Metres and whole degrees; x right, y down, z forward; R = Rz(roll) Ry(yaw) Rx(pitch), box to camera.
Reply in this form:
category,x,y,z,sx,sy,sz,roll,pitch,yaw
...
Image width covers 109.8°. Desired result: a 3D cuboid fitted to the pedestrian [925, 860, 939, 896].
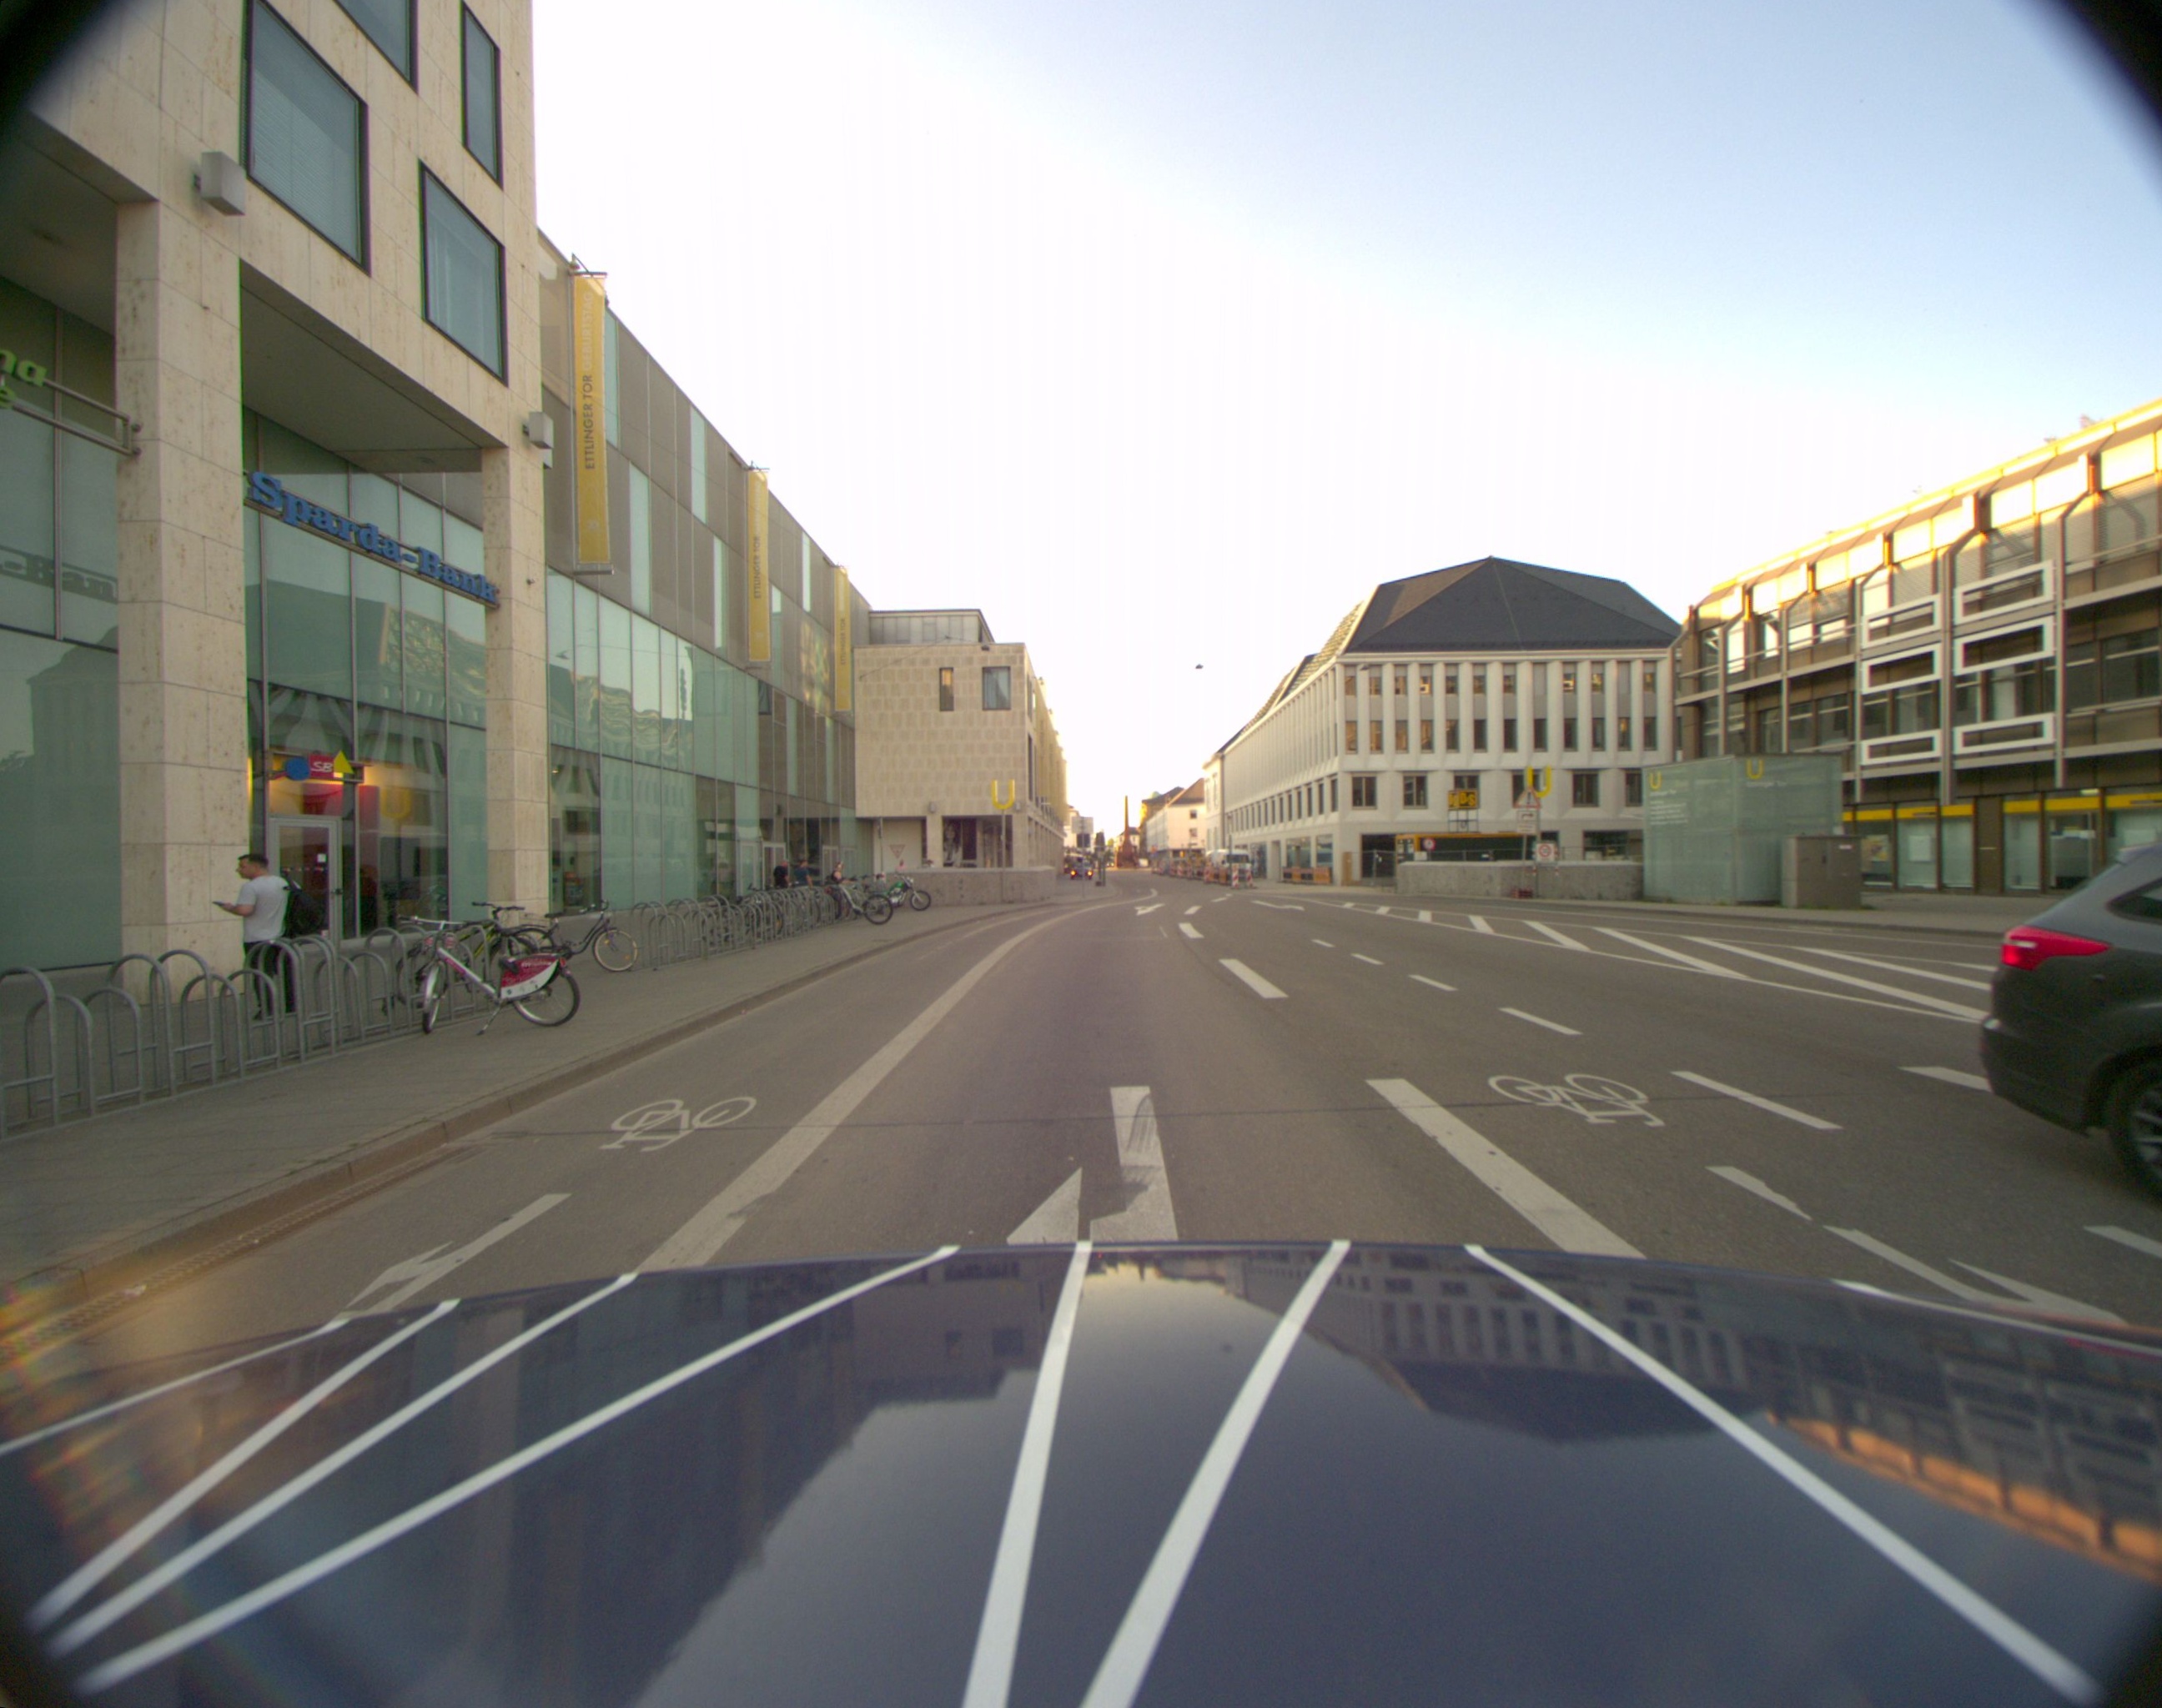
category,x,y,z,sx,sy,sz,roll,pitch,yaw
pedestrian,-7.298,1.157,37.197,0.494,1.733,0.657,-1,0,3

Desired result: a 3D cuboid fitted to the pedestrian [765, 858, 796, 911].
category,x,y,z,sx,sy,sz,roll,pitch,yaw
pedestrian,-9.620,0.959,24.335,0.741,1.638,0.820,-1,0,-7

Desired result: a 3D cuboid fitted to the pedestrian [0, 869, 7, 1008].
category,x,y,z,sx,sy,sz,roll,pitch,yaw
pedestrian,-13.063,0.999,8.653,0.629,1.642,0.708,-1,0,2

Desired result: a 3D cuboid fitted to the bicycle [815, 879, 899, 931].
category,x,y,z,sx,sy,sz,roll,pitch,yaw
bicycle,-5.386,1.219,18.316,1.838,1.140,0.466,-3,0,1

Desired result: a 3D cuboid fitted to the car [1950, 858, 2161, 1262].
category,x,y,z,sx,sy,sz,roll,pitch,yaw
car,4.848,0.738,1.263,1.762,1.454,4.380,-2,0,0

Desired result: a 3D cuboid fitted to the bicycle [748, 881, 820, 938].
category,x,y,z,sx,sy,sz,roll,pitch,yaw
bicycle,-6.656,1.238,17.074,1.345,1.157,0.518,-3,0,-1

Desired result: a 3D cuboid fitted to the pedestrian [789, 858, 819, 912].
category,x,y,z,sx,sy,sz,roll,pitch,yaw
pedestrian,-8.850,0.964,24.319,0.698,1.686,0.820,-1,0,-5

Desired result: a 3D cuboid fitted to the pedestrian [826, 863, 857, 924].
category,x,y,z,sx,sy,sz,roll,pitch,yaw
pedestrian,-6.631,1.080,21.041,0.809,1.633,0.646,-1,0,-18

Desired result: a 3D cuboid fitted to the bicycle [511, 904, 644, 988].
category,x,y,z,sx,sy,sz,roll,pitch,yaw
bicycle,-7.299,1.315,11.069,1.447,1.058,0.580,-3,0,-10

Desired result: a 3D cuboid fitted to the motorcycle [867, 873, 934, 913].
category,x,y,z,sx,sy,sz,roll,pitch,yaw
motorcycle,-5.707,1.241,24.081,2.007,1.217,0.480,-1,0,-2

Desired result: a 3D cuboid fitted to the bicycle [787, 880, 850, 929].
category,x,y,z,sx,sy,sz,roll,pitch,yaw
bicycle,-6.600,1.265,19.159,1.345,1.157,0.518,-3,0,-1

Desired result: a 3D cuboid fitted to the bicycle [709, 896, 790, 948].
category,x,y,z,sx,sy,sz,roll,pitch,yaw
bicycle,-6.593,1.353,15.145,1.345,0.927,0.518,-3,0,-1

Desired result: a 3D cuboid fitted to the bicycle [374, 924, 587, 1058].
category,x,y,z,sx,sy,sz,roll,pitch,yaw
bicycle,-5.395,1.219,6.863,1.518,1.057,0.466,-3,0,1

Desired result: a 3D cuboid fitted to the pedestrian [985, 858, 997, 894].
category,x,y,z,sx,sy,sz,roll,pitch,yaw
pedestrian,-4.306,1.063,36.466,0.454,1.733,0.493,-1,0,3

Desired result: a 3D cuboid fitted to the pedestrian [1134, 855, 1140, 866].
category,x,y,z,sx,sy,sz,roll,pitch,yaw
pedestrian,8.027,0.923,108.093,0.692,1.628,0.597,-2,0,16

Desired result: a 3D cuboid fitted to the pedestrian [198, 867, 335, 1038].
category,x,y,z,sx,sy,sz,roll,pitch,yaw
pedestrian,-8.364,0.980,7.830,0.707,1.682,0.629,-1,0,1

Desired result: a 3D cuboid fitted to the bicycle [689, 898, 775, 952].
category,x,y,z,sx,sy,sz,roll,pitch,yaw
bicycle,-6.651,1.344,14.500,1.345,0.927,0.518,-3,0,-1

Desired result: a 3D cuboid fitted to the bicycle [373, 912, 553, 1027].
category,x,y,z,sx,sy,sz,roll,pitch,yaw
bicycle,-6.795,1.259,8.389,1.518,1.117,0.581,-3,0,4

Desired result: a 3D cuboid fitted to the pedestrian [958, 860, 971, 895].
category,x,y,z,sx,sy,sz,roll,pitch,yaw
pedestrian,-5.842,1.153,38.046,0.504,1.733,0.493,-1,0,3

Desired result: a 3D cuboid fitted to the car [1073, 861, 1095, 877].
category,x,y,z,sx,sy,sz,roll,pitch,yaw
car,0.331,1.294,67.650,1.798,1.365,3.671,-1,0,2

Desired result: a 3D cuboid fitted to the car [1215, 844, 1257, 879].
category,x,y,z,sx,sy,sz,roll,pitch,yaw
car,11.989,0.588,59.159,2.141,2.540,6.050,-1,0,1

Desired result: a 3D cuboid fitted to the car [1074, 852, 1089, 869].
category,x,y,z,sx,sy,sz,roll,pitch,yaw
car,0.099,0.835,99.430,1.798,2.198,3.671,-1,0,2

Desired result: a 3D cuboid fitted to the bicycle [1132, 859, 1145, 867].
category,x,y,z,sx,sy,sz,roll,pitch,yaw
bicycle,8.217,1.330,108.048,1.770,1.036,0.599,-2,1,17

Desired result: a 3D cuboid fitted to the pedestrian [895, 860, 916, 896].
category,x,y,z,sx,sy,sz,roll,pitch,yaw
pedestrian,-8.553,1.181,37.015,0.793,1.733,0.657,-1,0,3
